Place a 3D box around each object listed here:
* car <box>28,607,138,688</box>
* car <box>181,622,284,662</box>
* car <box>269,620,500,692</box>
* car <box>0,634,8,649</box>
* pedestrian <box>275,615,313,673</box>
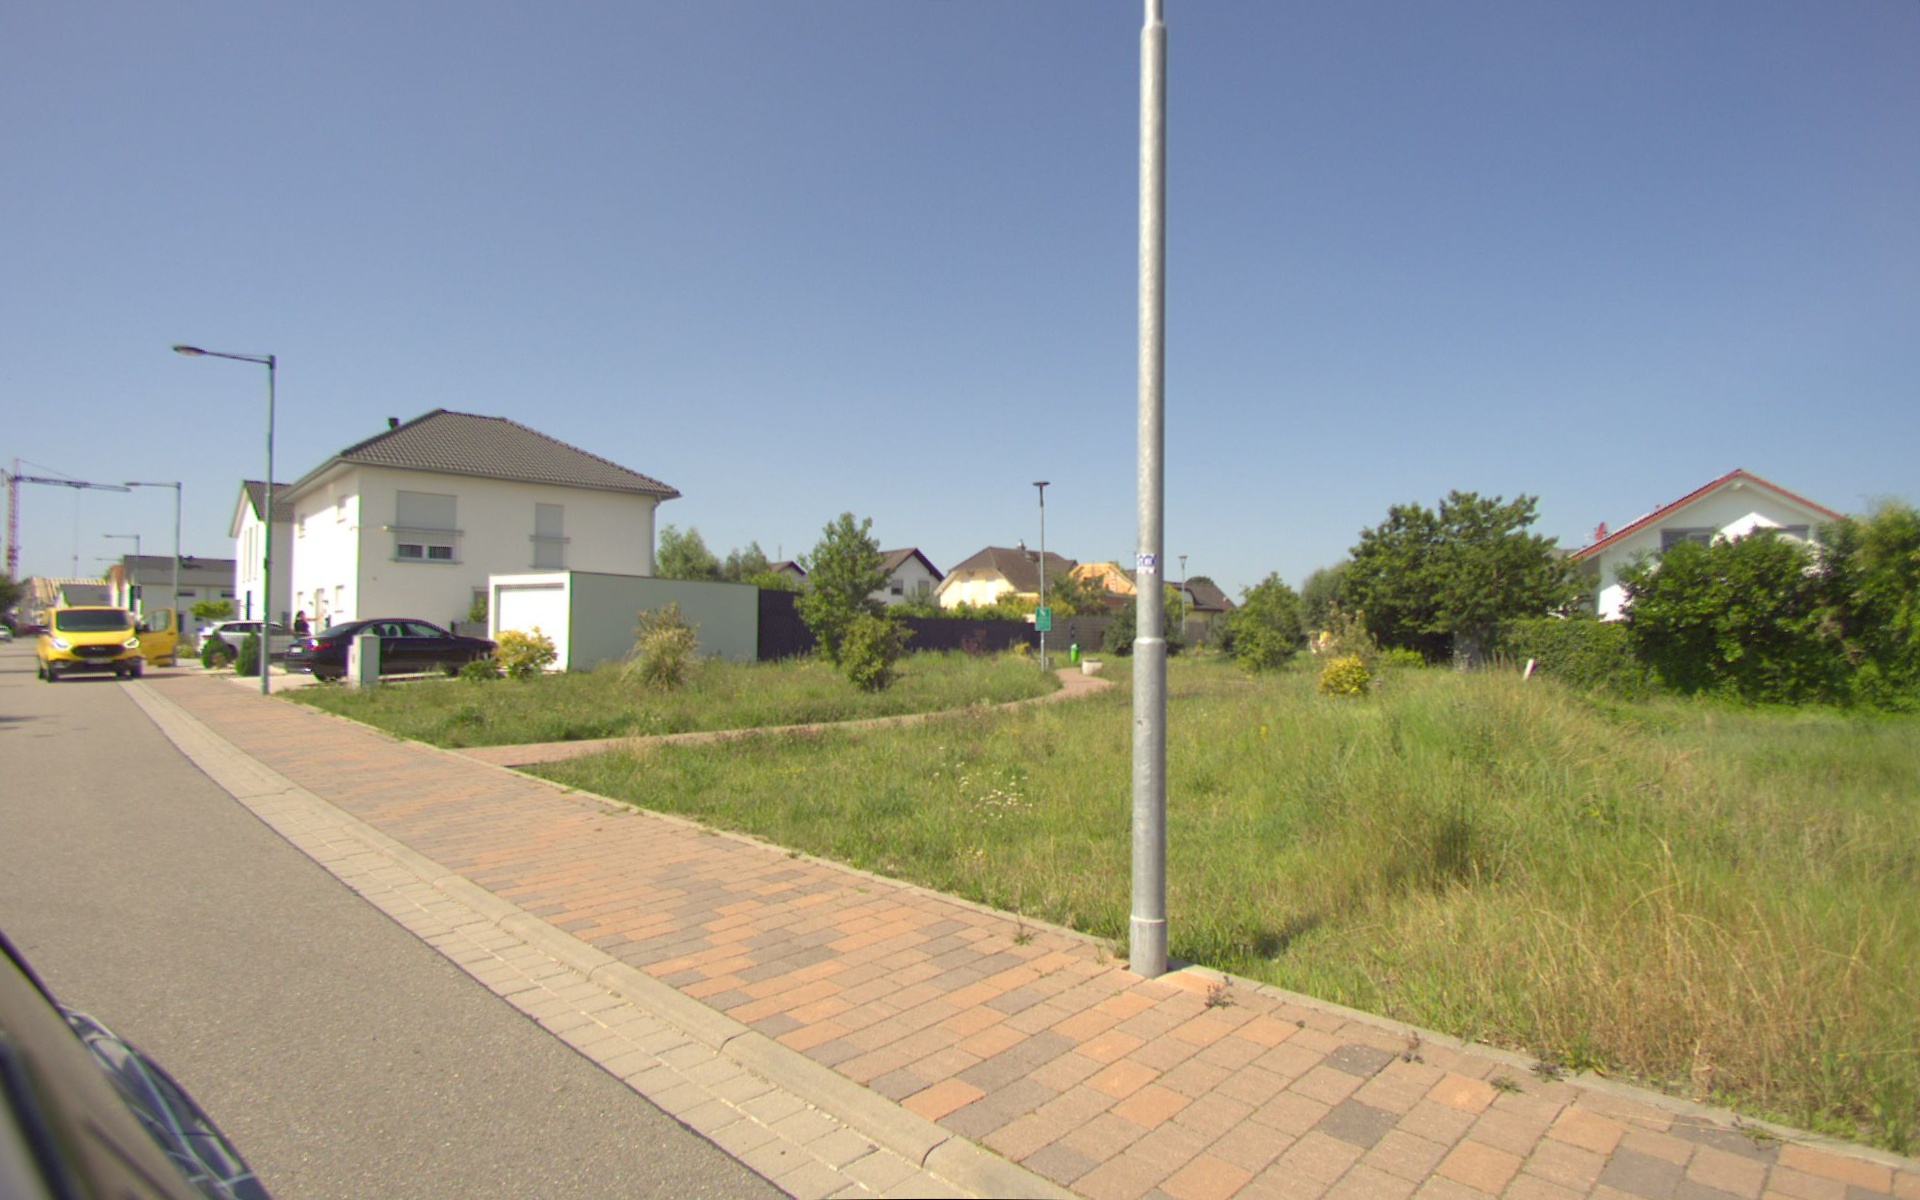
[{"bbox_3d":[-24.043,1.247,27.689,4.842,2.029,1.863,-2,-2,44],"label":"car"},{"bbox_3d":[-35.699,2.038,49.708,3.938,1.866,2.003,2,-3,-41],"label":"car"},{"bbox_3d":[-13.191,1.220,23.464,1.745,1.463,4.355,-2,-1,35],"label":"car"},{"bbox_3d":[-87.903,3.780,92.290,1.471,1.408,3.276,2,-3,-42],"label":"car"},{"bbox_3d":[-20.137,1.310,30.635,0.917,1.698,0.538,-1,-1,-32],"label":"pedestrian"}]
